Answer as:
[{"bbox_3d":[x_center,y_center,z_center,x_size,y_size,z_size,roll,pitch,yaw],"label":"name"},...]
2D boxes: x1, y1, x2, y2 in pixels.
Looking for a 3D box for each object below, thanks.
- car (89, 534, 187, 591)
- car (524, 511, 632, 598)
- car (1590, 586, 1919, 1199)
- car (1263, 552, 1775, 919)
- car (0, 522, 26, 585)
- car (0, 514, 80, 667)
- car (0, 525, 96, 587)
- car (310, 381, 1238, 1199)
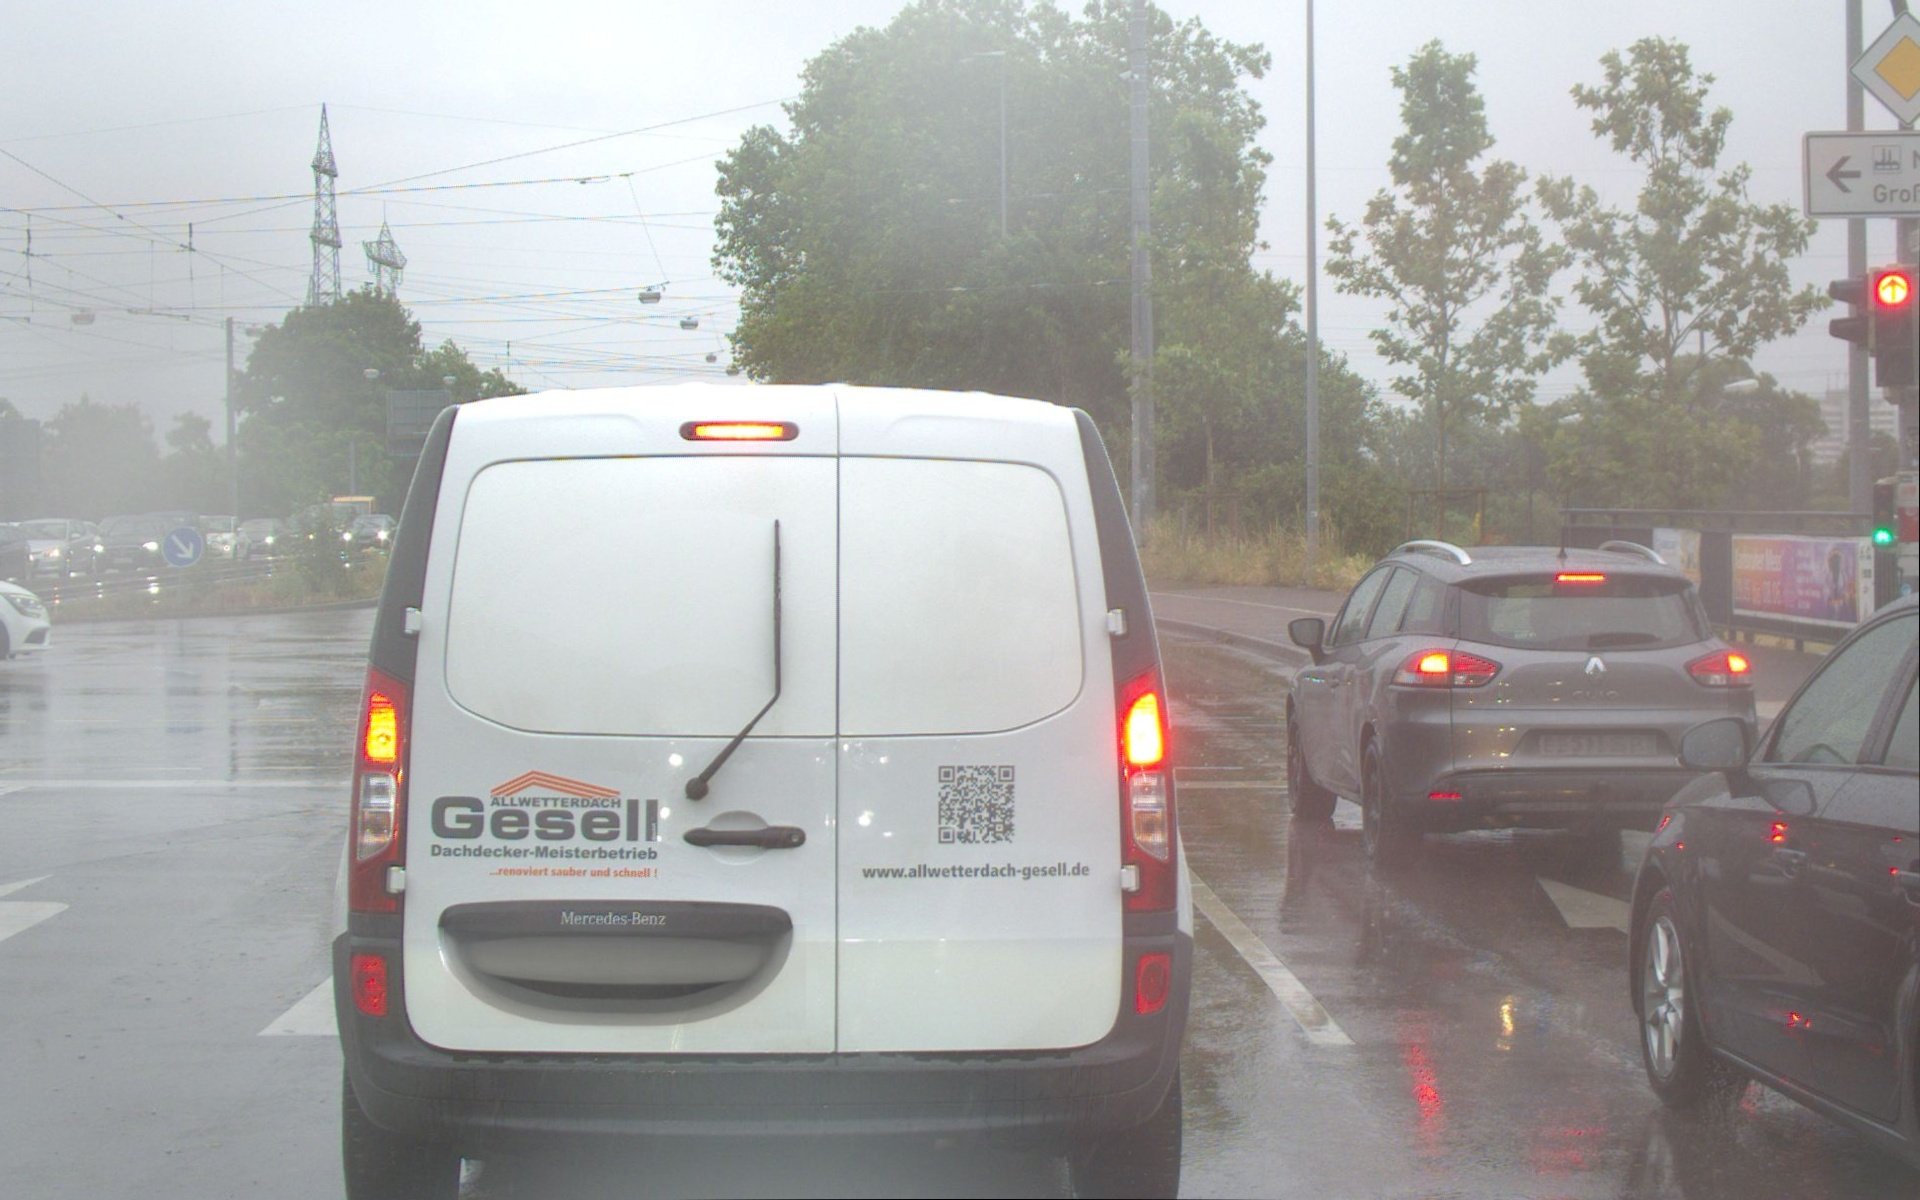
[{"bbox_3d":[-21.985,-0.991,92.104,1.710,1.421,3.809,2,0,-1],"label":"car"},{"bbox_3d":[-7.787,-0.900,70.410,1.947,1.656,4.465,2,0,-4],"label":"car"},{"bbox_3d":[2.605,0.688,7.592,1.597,1.361,3.631,-1,1,-3],"label":"car"},{"bbox_3d":[2.526,0.545,16.421,1.684,1.503,3.921,1,1,-1],"label":"car"},{"bbox_3d":[-22.533,-1.087,78.299,1.559,1.421,3.569,2,0,-1],"label":"car"},{"bbox_3d":[-11.110,-0.163,34.144,4.258,1.496,1.822,2,0,-26],"label":"car"},{"bbox_3d":[-22.552,-1.073,84.788,1.559,1.421,3.569,2,0,-1],"label":"car"},{"bbox_3d":[-0.498,0.398,8.641,1.754,1.744,4.170,1,2,-4],"label":"car"}]
